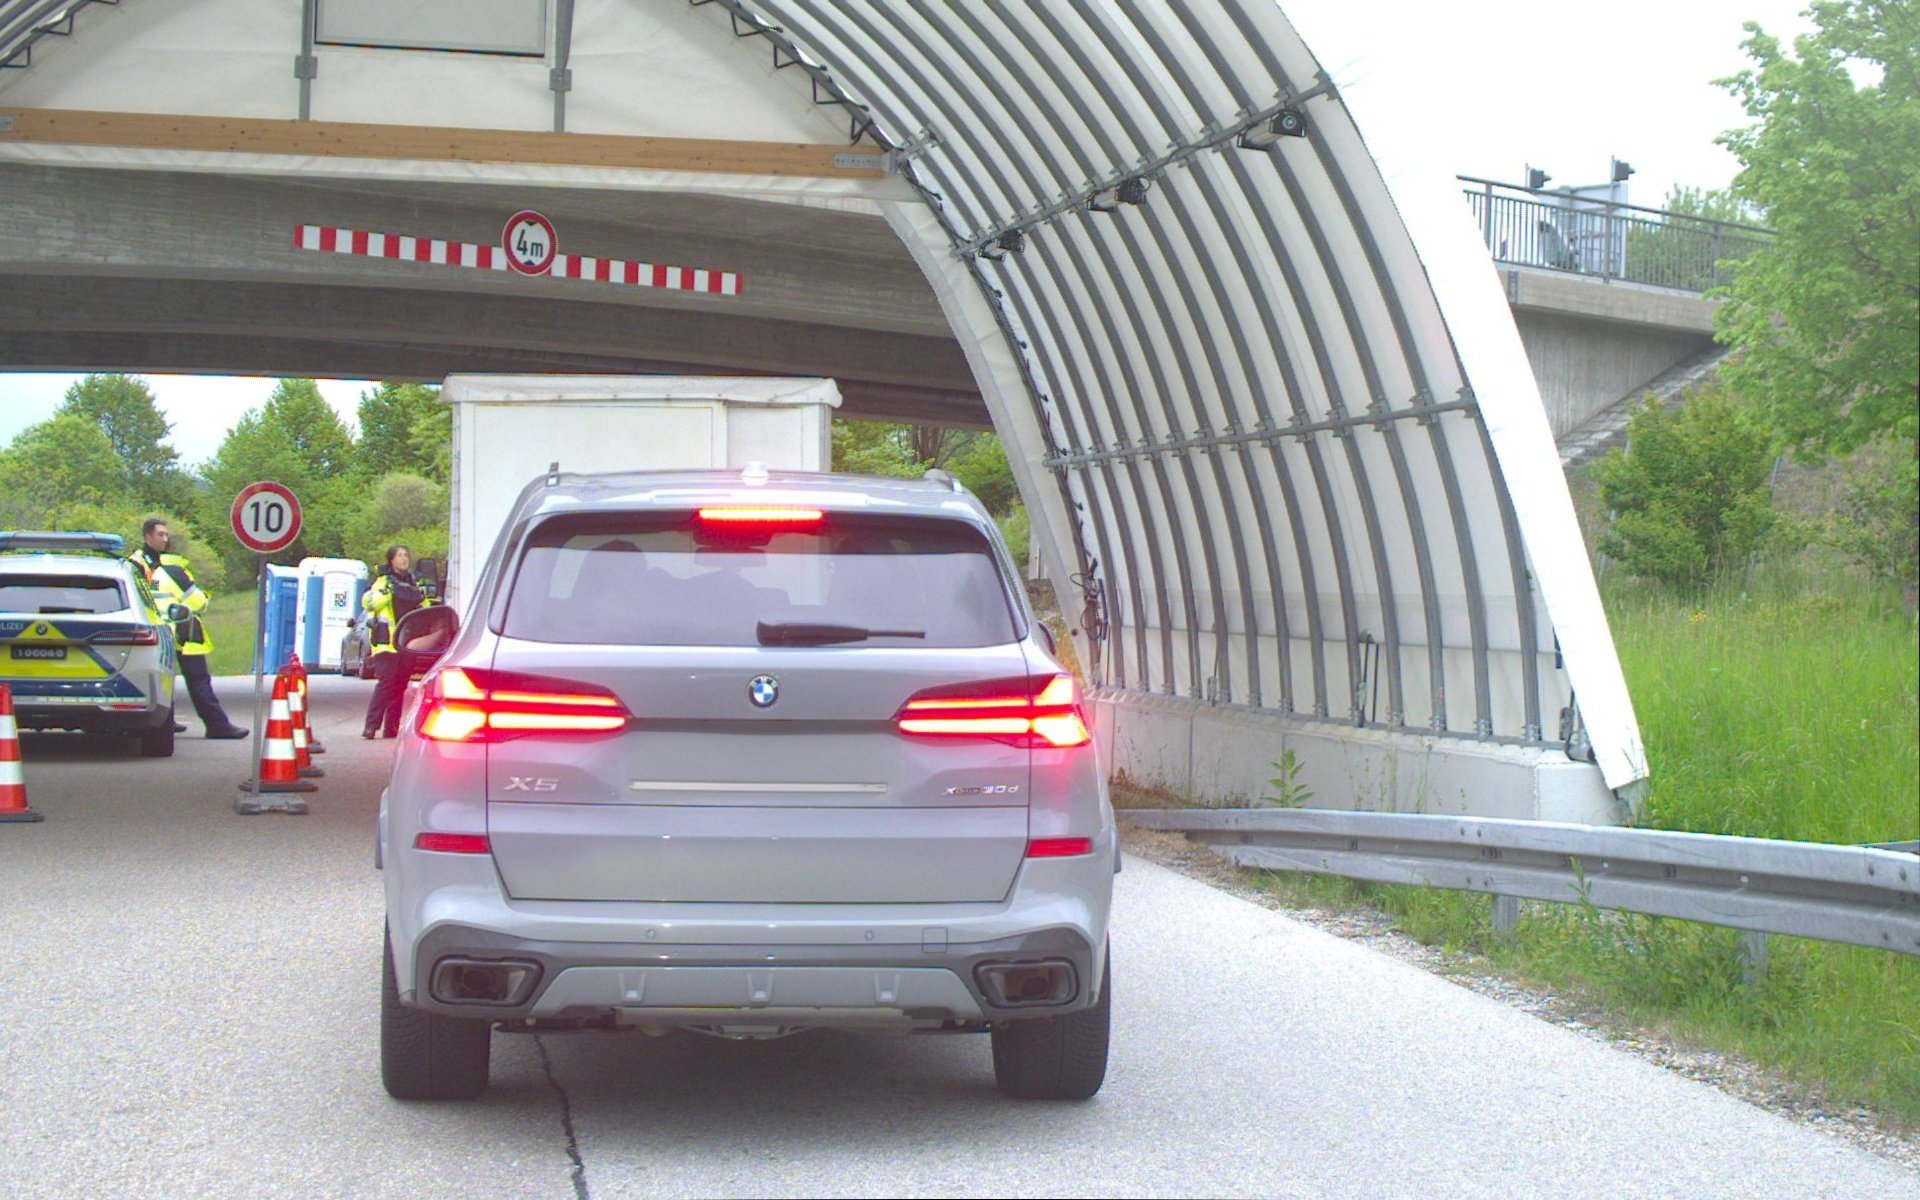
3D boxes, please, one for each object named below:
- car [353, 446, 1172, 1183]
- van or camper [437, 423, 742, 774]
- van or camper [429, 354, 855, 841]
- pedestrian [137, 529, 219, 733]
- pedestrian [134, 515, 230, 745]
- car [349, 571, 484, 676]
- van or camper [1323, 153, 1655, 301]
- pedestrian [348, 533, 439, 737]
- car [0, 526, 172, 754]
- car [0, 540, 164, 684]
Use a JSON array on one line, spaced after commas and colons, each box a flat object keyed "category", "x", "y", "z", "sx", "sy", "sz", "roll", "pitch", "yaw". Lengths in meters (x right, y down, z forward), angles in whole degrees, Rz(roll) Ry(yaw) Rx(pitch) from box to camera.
[{"category": "car", "x": -0.780, "y": 0.495, "z": 10.341, "sx": 1.993, "sy": 1.759, "sz": 4.001, "roll": 0, "pitch": 0, "yaw": -9}, {"category": "van or camper", "x": -3.076, "y": -0.031, "z": 27.479, "sx": 2.103, "sy": 2.510, "sz": 5.552, "roll": 0, "pitch": 0, "yaw": -9}, {"category": "van or camper", "x": -2.168, "y": -0.042, "z": 21.403, "sx": 2.229, "sy": 2.543, "sz": 6.612, "roll": 0, "pitch": 0, "yaw": -9}, {"category": "pedestrian", "x": -6.806, "y": 0.264, "z": 29.927, "sx": 0.609, "sy": 1.748, "sz": 0.666, "roll": 0, "pitch": 0, "yaw": -6}, {"category": "pedestrian", "x": -6.552, "y": 0.244, "z": 28.933, "sx": 0.749, "sy": 1.912, "sz": 0.763, "roll": 0, "pitch": 0, "yaw": -15}, {"category": "car", "x": -9.271, "y": 0.366, "z": 58.398, "sx": 1.993, "sy": 1.716, "sz": 3.897, "roll": 0, "pitch": 0, "yaw": -13}, {"category": "van or camper", "x": 8.256, "y": -5.742, "z": 53.377, "sx": 5.436, "sy": 1.764, "sz": 1.896, "roll": 0, "pitch": 1, "yaw": -39}, {"category": "pedestrian", "x": -4.835, "y": 0.291, "z": 29.324, "sx": 0.754, "sy": 1.716, "sz": 0.782, "roll": 0, "pitch": 0, "yaw": -10}, {"category": "car", "x": -7.154, "y": 0.275, "z": 26.748, "sx": 1.877, "sy": 1.641, "sz": 4.001, "roll": 0, "pitch": 0, "yaw": -15}, {"category": "car", "x": -13.966, "y": 0.155, "z": 48.932, "sx": 4.807, "sy": 2.007, "sz": 1.840, "roll": 0, "pitch": 0, "yaw": 7}]
